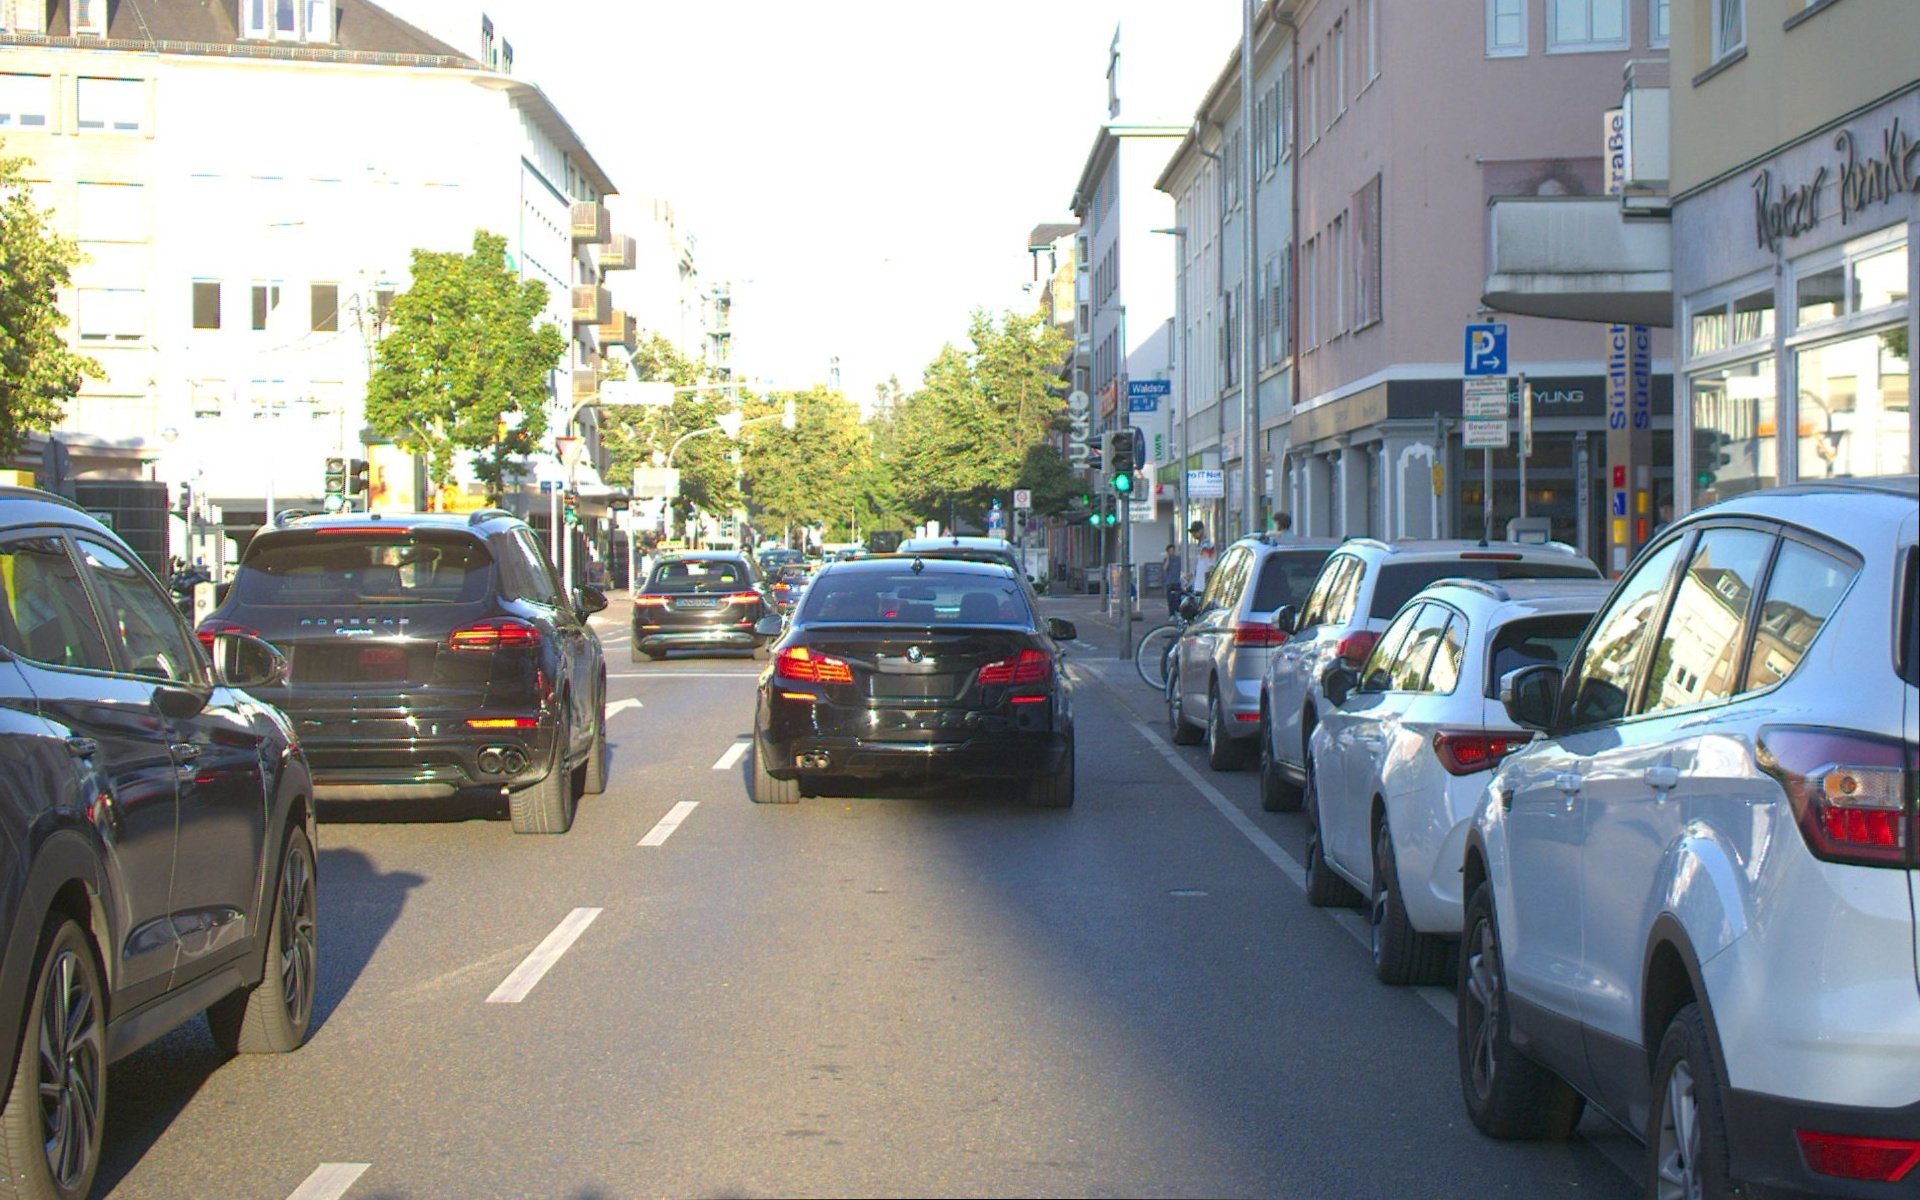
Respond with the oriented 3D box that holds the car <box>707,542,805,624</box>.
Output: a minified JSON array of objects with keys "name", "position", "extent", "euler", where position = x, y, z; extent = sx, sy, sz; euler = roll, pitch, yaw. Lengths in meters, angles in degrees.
[{"name":"car","position":[-3.945,-0.359,66.977],"extent":[1.779,1.542,4.000],"euler":[0,1,-1]}]

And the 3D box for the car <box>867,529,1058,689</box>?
[{"name":"car","position":[-0.015,0.060,36.829],"extent":[1.896,1.575,4.000],"euler":[1,1,-1]}]

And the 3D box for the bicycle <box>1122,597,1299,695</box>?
[{"name":"bicycle","position":[2.533,0.459,34.810],"extent":[1.766,0.963,0.490],"euler":[1,1,5]}]

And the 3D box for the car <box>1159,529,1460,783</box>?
[{"name":"car","position":[2.452,0.361,24.970],"extent":[1.730,1.646,3.970],"euler":[2,0,0]}]

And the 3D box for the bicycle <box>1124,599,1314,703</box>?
[{"name":"bicycle","position":[2.512,0.488,33.364],"extent":[1.768,0.963,0.490],"euler":[1,1,25]}]

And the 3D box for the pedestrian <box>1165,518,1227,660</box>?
[{"name":"pedestrian","position":[3.045,-0.147,44.400],"extent":[0.699,1.805,0.635],"euler":[0,1,-4]}]

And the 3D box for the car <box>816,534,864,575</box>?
[{"name":"car","position":[-4.519,-1.725,130.092],"extent":[1.779,1.542,4.000],"euler":[0,1,-1]}]

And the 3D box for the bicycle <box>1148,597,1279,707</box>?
[{"name":"bicycle","position":[2.348,0.472,32.024],"extent":[0.488,0.963,1.772],"euler":[0,1,-21]}]

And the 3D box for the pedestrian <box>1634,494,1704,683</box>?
[{"name":"pedestrian","position":[6.843,-0.112,33.208],"extent":[0.507,1.805,0.573],"euler":[0,1,-4]}]

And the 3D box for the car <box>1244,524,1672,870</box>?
[{"name":"car","position":[2.597,0.462,18.750],"extent":[1.730,1.646,3.829],"euler":[2,0,0]}]

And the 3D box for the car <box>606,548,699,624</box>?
[{"name":"car","position":[-6.724,-0.336,75.414],"extent":[1.691,1.547,3.951],"euler":[-2,1,-1]}]

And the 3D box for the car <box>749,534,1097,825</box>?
[{"name":"car","position":[-0.246,0.414,21.103],"extent":[1.896,1.575,4.000],"euler":[1,1,-1]}]

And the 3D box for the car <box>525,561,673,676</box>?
[{"name":"car","position":[-5.101,0.227,48.971],"extent":[1.779,1.542,4.000],"euler":[0,1,-1]}]

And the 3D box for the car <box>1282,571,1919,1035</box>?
[{"name":"car","position":[2.302,0.641,13.242],"extent":[1.730,1.445,4.312],"euler":[2,0,1]}]

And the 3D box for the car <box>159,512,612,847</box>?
[{"name":"car","position":[-3.032,0.361,18.960],"extent":[1.896,1.644,4.104],"euler":[0,1,-1]}]

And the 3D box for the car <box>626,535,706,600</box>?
[{"name":"car","position":[-7.416,-0.846,86.920],"extent":[1.691,1.547,3.951],"euler":[-2,1,-1]}]

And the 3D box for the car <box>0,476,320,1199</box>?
[{"name":"car","position":[-2.896,0.544,8.602],"extent":[1.896,1.644,4.104],"euler":[0,1,-1]}]

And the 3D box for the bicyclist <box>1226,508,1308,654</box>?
[{"name":"bicyclist","position":[3.770,-0.240,42.209],"extent":[0.832,1.771,0.608],"euler":[1,1,27]}]

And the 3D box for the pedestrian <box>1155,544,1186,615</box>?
[{"name":"pedestrian","position":[4.565,-0.451,74.555],"extent":[0.632,1.528,0.702],"euler":[0,1,2]}]

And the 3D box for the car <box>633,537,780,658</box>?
[{"name":"car","position":[-3.348,-0.069,45.992],"extent":[1.779,1.542,4.000],"euler":[0,1,-1]}]

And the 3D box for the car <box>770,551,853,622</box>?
[{"name":"car","position":[-3.303,-0.325,76.984],"extent":[1.779,1.542,4.000],"euler":[0,1,-1]}]

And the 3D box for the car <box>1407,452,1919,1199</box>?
[{"name":"car","position":[2.149,0.603,7.481],"extent":[1.730,1.645,4.284],"euler":[2,0,0]}]
